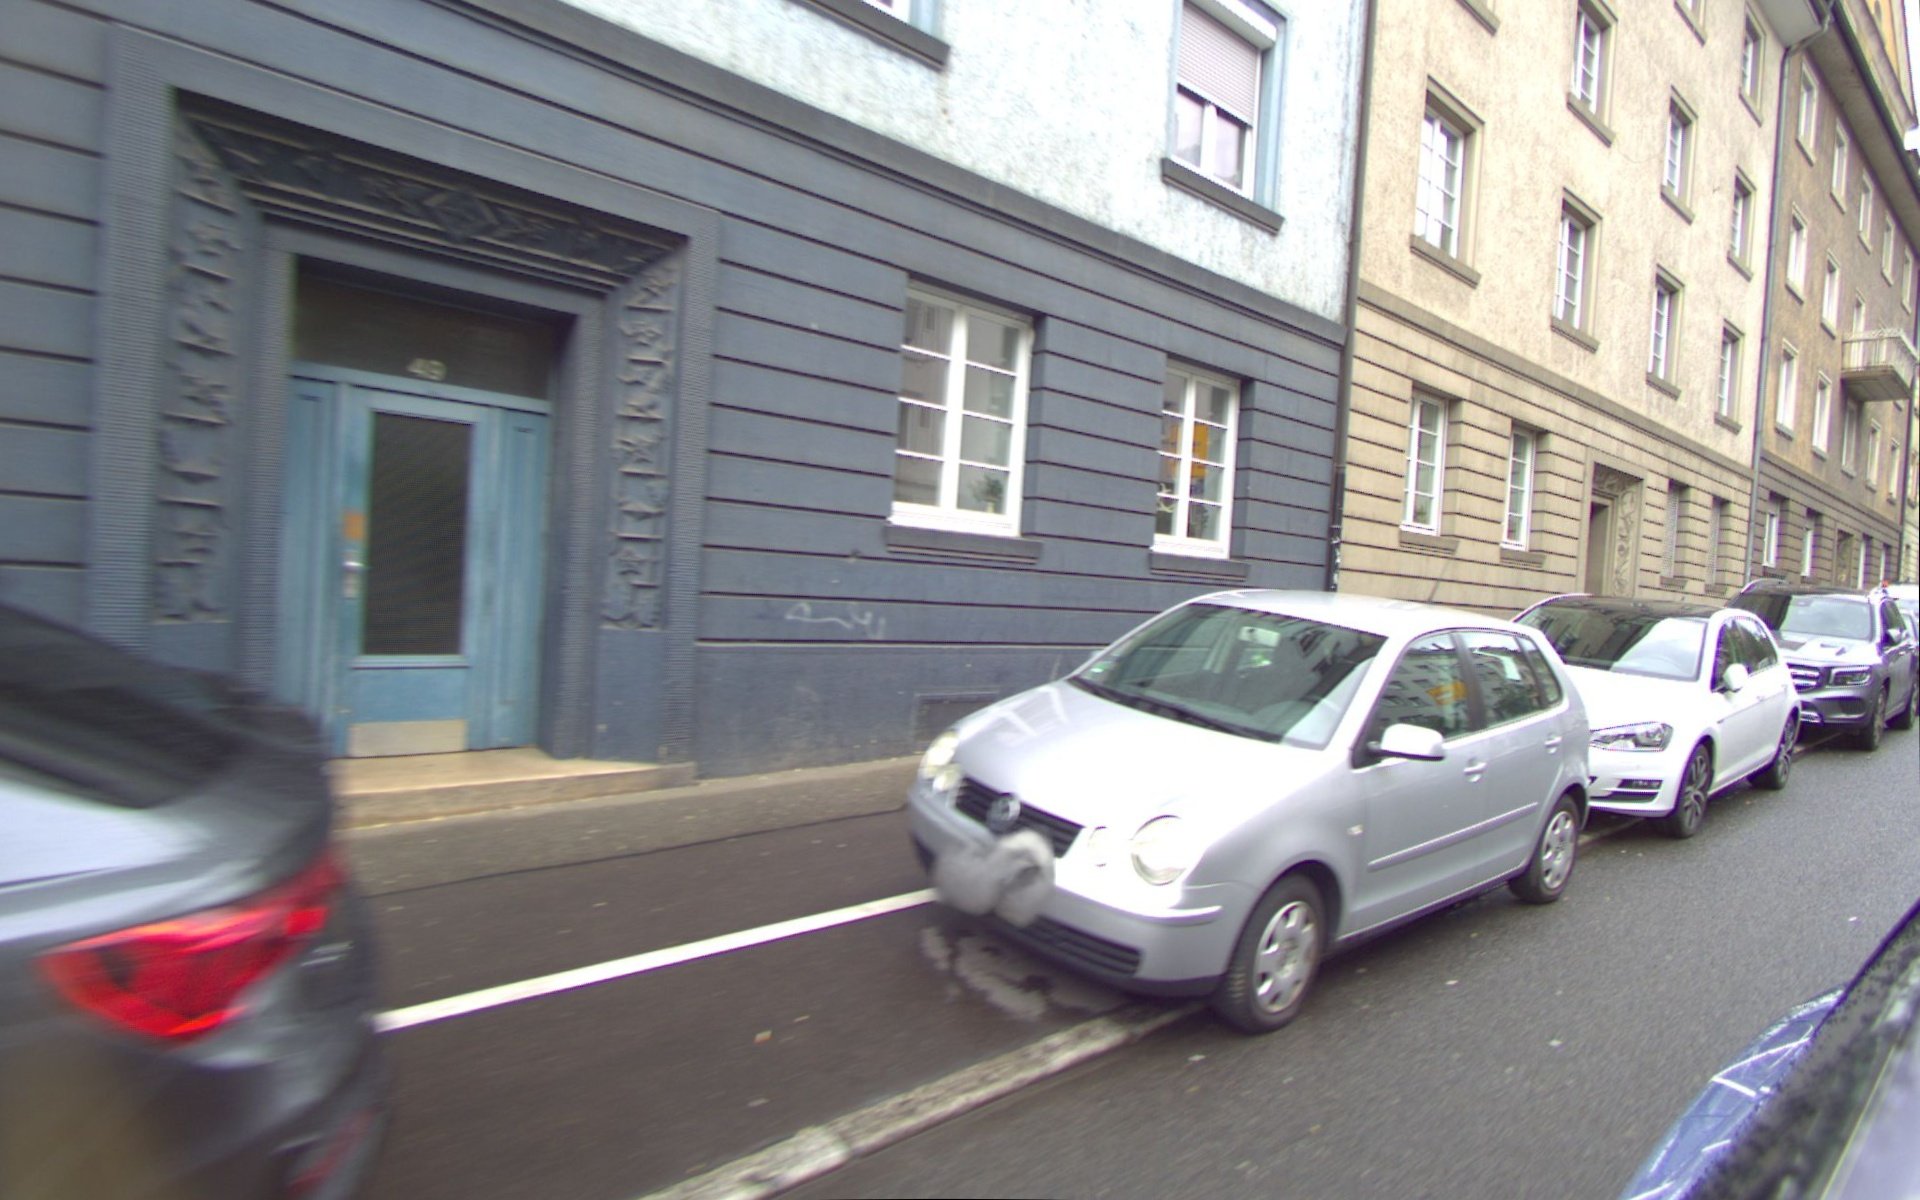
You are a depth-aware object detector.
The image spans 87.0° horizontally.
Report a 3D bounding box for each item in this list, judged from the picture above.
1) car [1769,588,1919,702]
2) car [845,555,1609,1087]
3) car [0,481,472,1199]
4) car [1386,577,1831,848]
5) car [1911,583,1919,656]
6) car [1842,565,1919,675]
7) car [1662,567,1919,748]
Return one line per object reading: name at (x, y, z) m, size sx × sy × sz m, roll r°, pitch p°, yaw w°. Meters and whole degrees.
car at (14.172, 0.605, 15.616) m, size 4.311 × 1.426 × 1.845 m, roll 0°, pitch 5°, yaw -41°
car at (1.417, 0.622, 4.648) m, size 3.531 × 1.446 × 1.587 m, roll 0°, pitch 5°, yaw -41°
car at (-2.949, 0.575, 0.888) m, size 4.216 × 1.576 × 1.823 m, roll 0°, pitch 4°, yaw -40°
car at (5.117, 0.652, 7.791) m, size 3.903 × 1.446 × 1.734 m, roll 0°, pitch 5°, yaw -41°
car at (22.803, 0.493, 22.526) m, size 4.150 × 1.566 × 1.795 m, roll 0°, pitch 4°, yaw -40°
car at (18.045, 0.366, 18.825) m, size 4.008 × 1.839 × 1.795 m, roll 0°, pitch 4°, yaw -40°
car at (9.876, 0.515, 11.726) m, size 4.135 × 1.640 × 1.845 m, roll 0°, pitch 4°, yaw -41°
